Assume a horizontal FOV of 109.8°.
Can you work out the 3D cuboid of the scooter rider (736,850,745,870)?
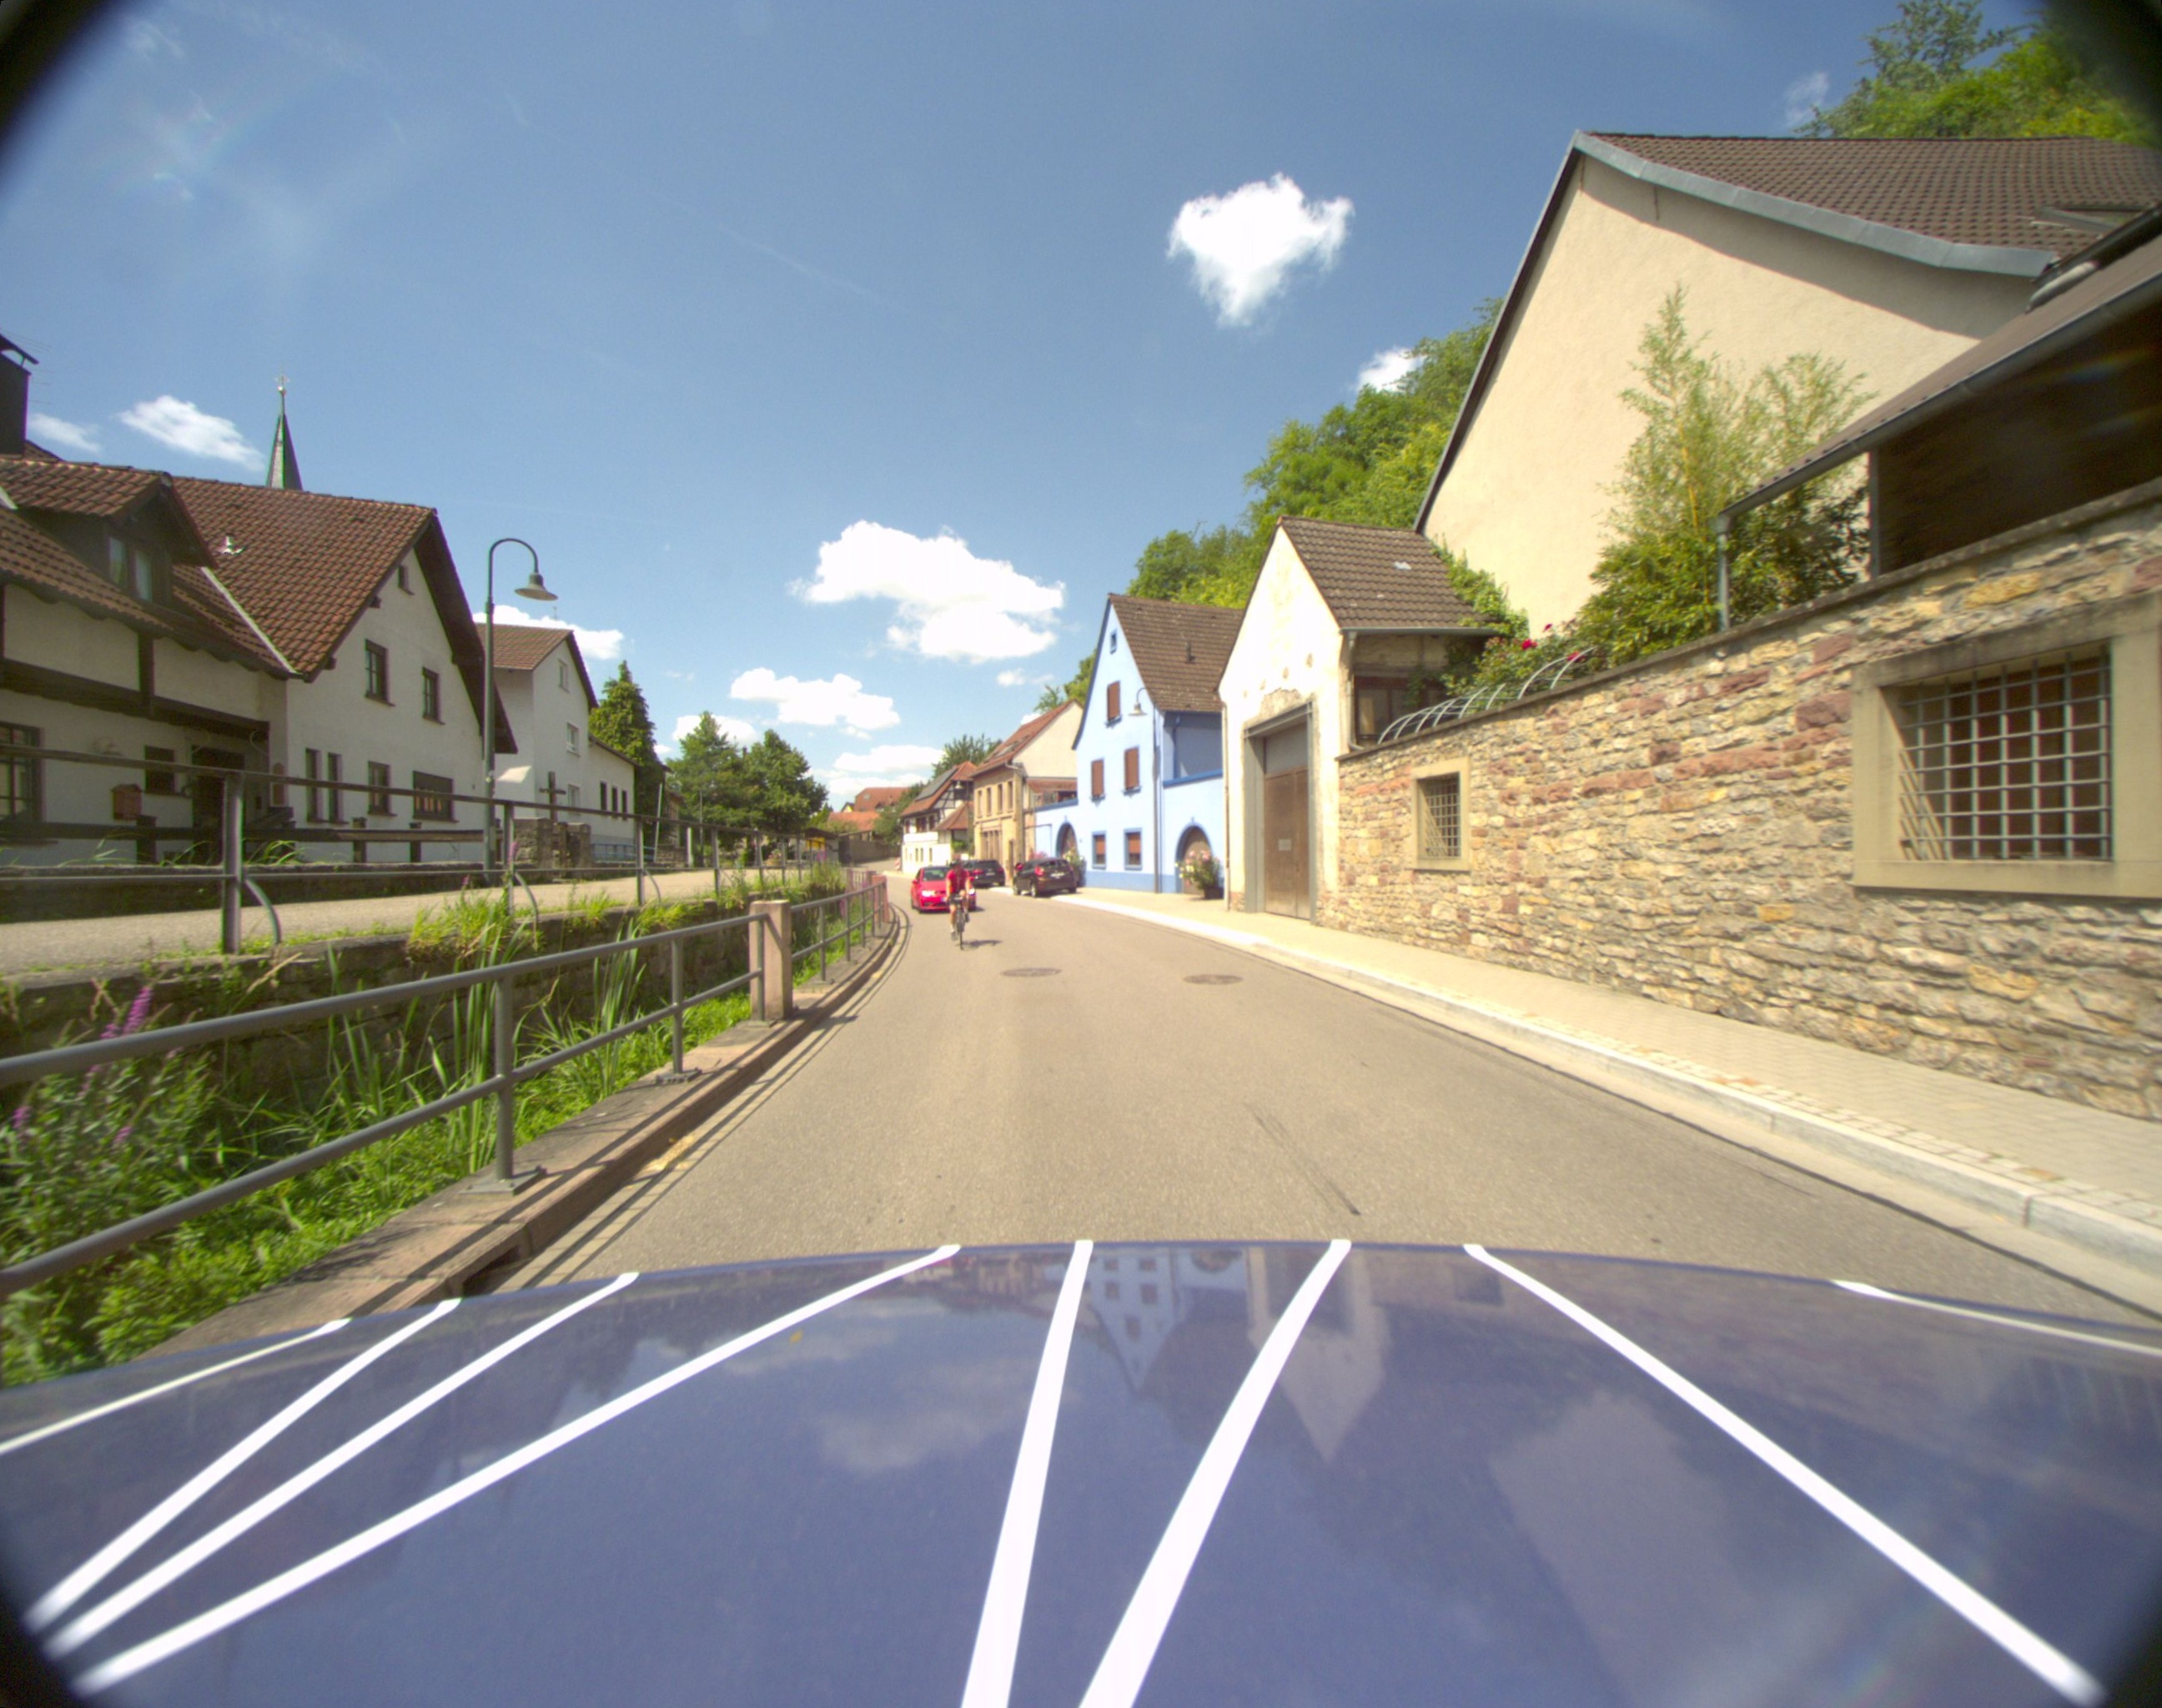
[{"bbox_3d":[-30.571,0.535,68.268,0.644,1.722,0.553,-2,1,-20],"label":"scooter rider"}]

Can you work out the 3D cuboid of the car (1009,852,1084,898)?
[{"bbox_3d":[-1.410,0.793,29.765,1.724,1.521,3.850,-6,1,-20],"label":"car"}]

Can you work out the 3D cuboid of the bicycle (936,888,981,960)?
[{"bbox_3d":[-2.147,1.195,13.490,0.531,1.070,2.053,-2,0,-3],"label":"bicycle"}]

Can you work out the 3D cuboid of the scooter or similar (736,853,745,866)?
[{"bbox_3d":[-30.605,0.491,68.347,0.644,1.135,1.808,0,0,-20],"label":"scooter or similar"}]

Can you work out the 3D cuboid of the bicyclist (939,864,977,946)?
[{"bbox_3d":[-2.182,0.886,13.539,0.532,1.396,0.755,-2,1,-3],"label":"bicyclist"}]

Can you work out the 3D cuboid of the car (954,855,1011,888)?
[{"bbox_3d":[-5.162,0.873,39.381,1.892,1.455,4.661,-4,1,-20],"label":"car"}]

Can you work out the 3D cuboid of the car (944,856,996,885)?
[{"bbox_3d":[-6.485,0.896,44.001,1.965,1.457,4.536,-2,1,-22],"label":"car"}]

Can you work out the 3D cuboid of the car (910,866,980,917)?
[{"bbox_3d":[-4.218,1.080,23.208,1.672,1.344,3.489,-2,1,-17],"label":"car"}]
